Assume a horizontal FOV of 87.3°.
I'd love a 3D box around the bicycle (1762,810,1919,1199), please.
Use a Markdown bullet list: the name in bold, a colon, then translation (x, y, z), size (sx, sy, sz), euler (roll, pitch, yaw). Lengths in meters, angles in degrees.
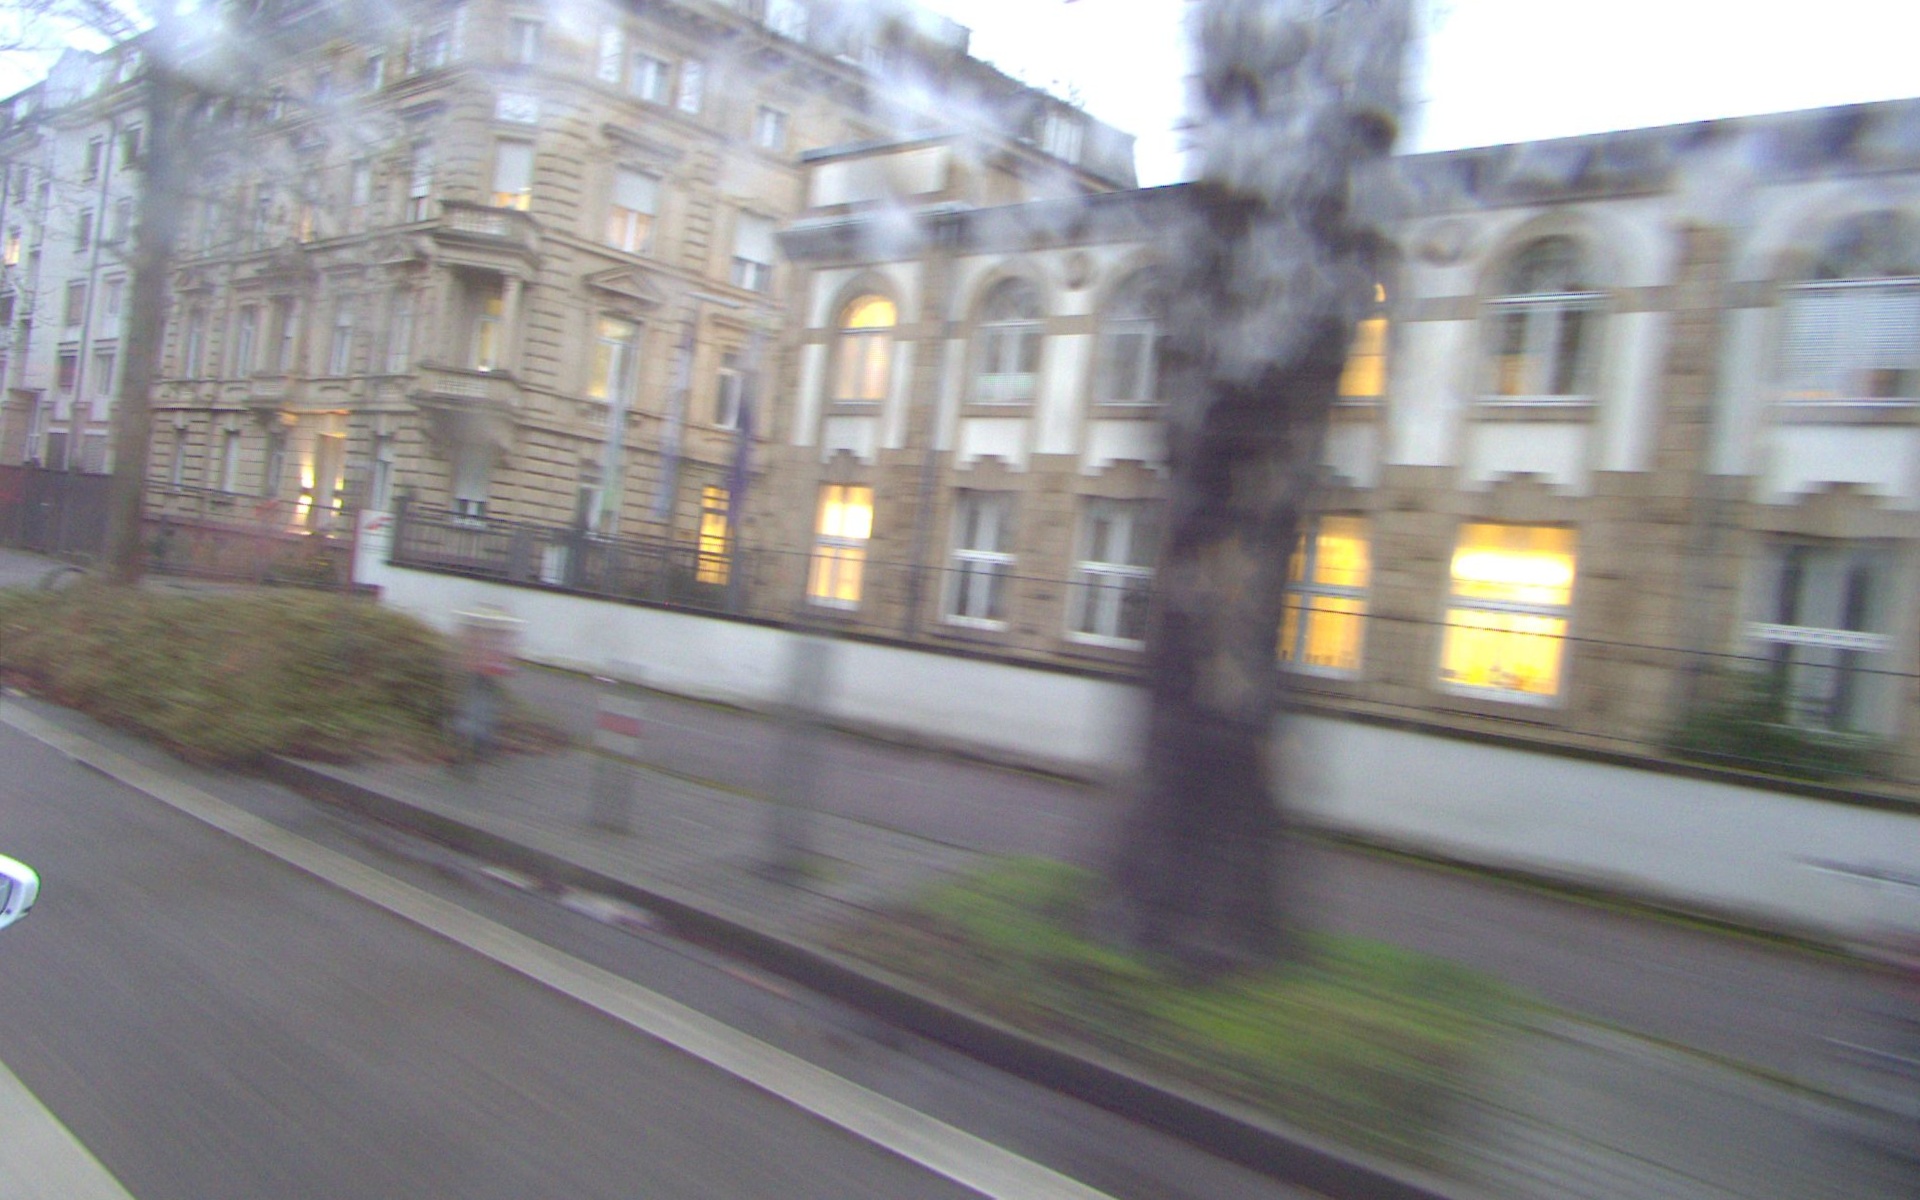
- **bicycle**: translation (3.095, 1.341, 3.092), size (0.652, 1.084, 1.715), euler (8, 0, 32)
